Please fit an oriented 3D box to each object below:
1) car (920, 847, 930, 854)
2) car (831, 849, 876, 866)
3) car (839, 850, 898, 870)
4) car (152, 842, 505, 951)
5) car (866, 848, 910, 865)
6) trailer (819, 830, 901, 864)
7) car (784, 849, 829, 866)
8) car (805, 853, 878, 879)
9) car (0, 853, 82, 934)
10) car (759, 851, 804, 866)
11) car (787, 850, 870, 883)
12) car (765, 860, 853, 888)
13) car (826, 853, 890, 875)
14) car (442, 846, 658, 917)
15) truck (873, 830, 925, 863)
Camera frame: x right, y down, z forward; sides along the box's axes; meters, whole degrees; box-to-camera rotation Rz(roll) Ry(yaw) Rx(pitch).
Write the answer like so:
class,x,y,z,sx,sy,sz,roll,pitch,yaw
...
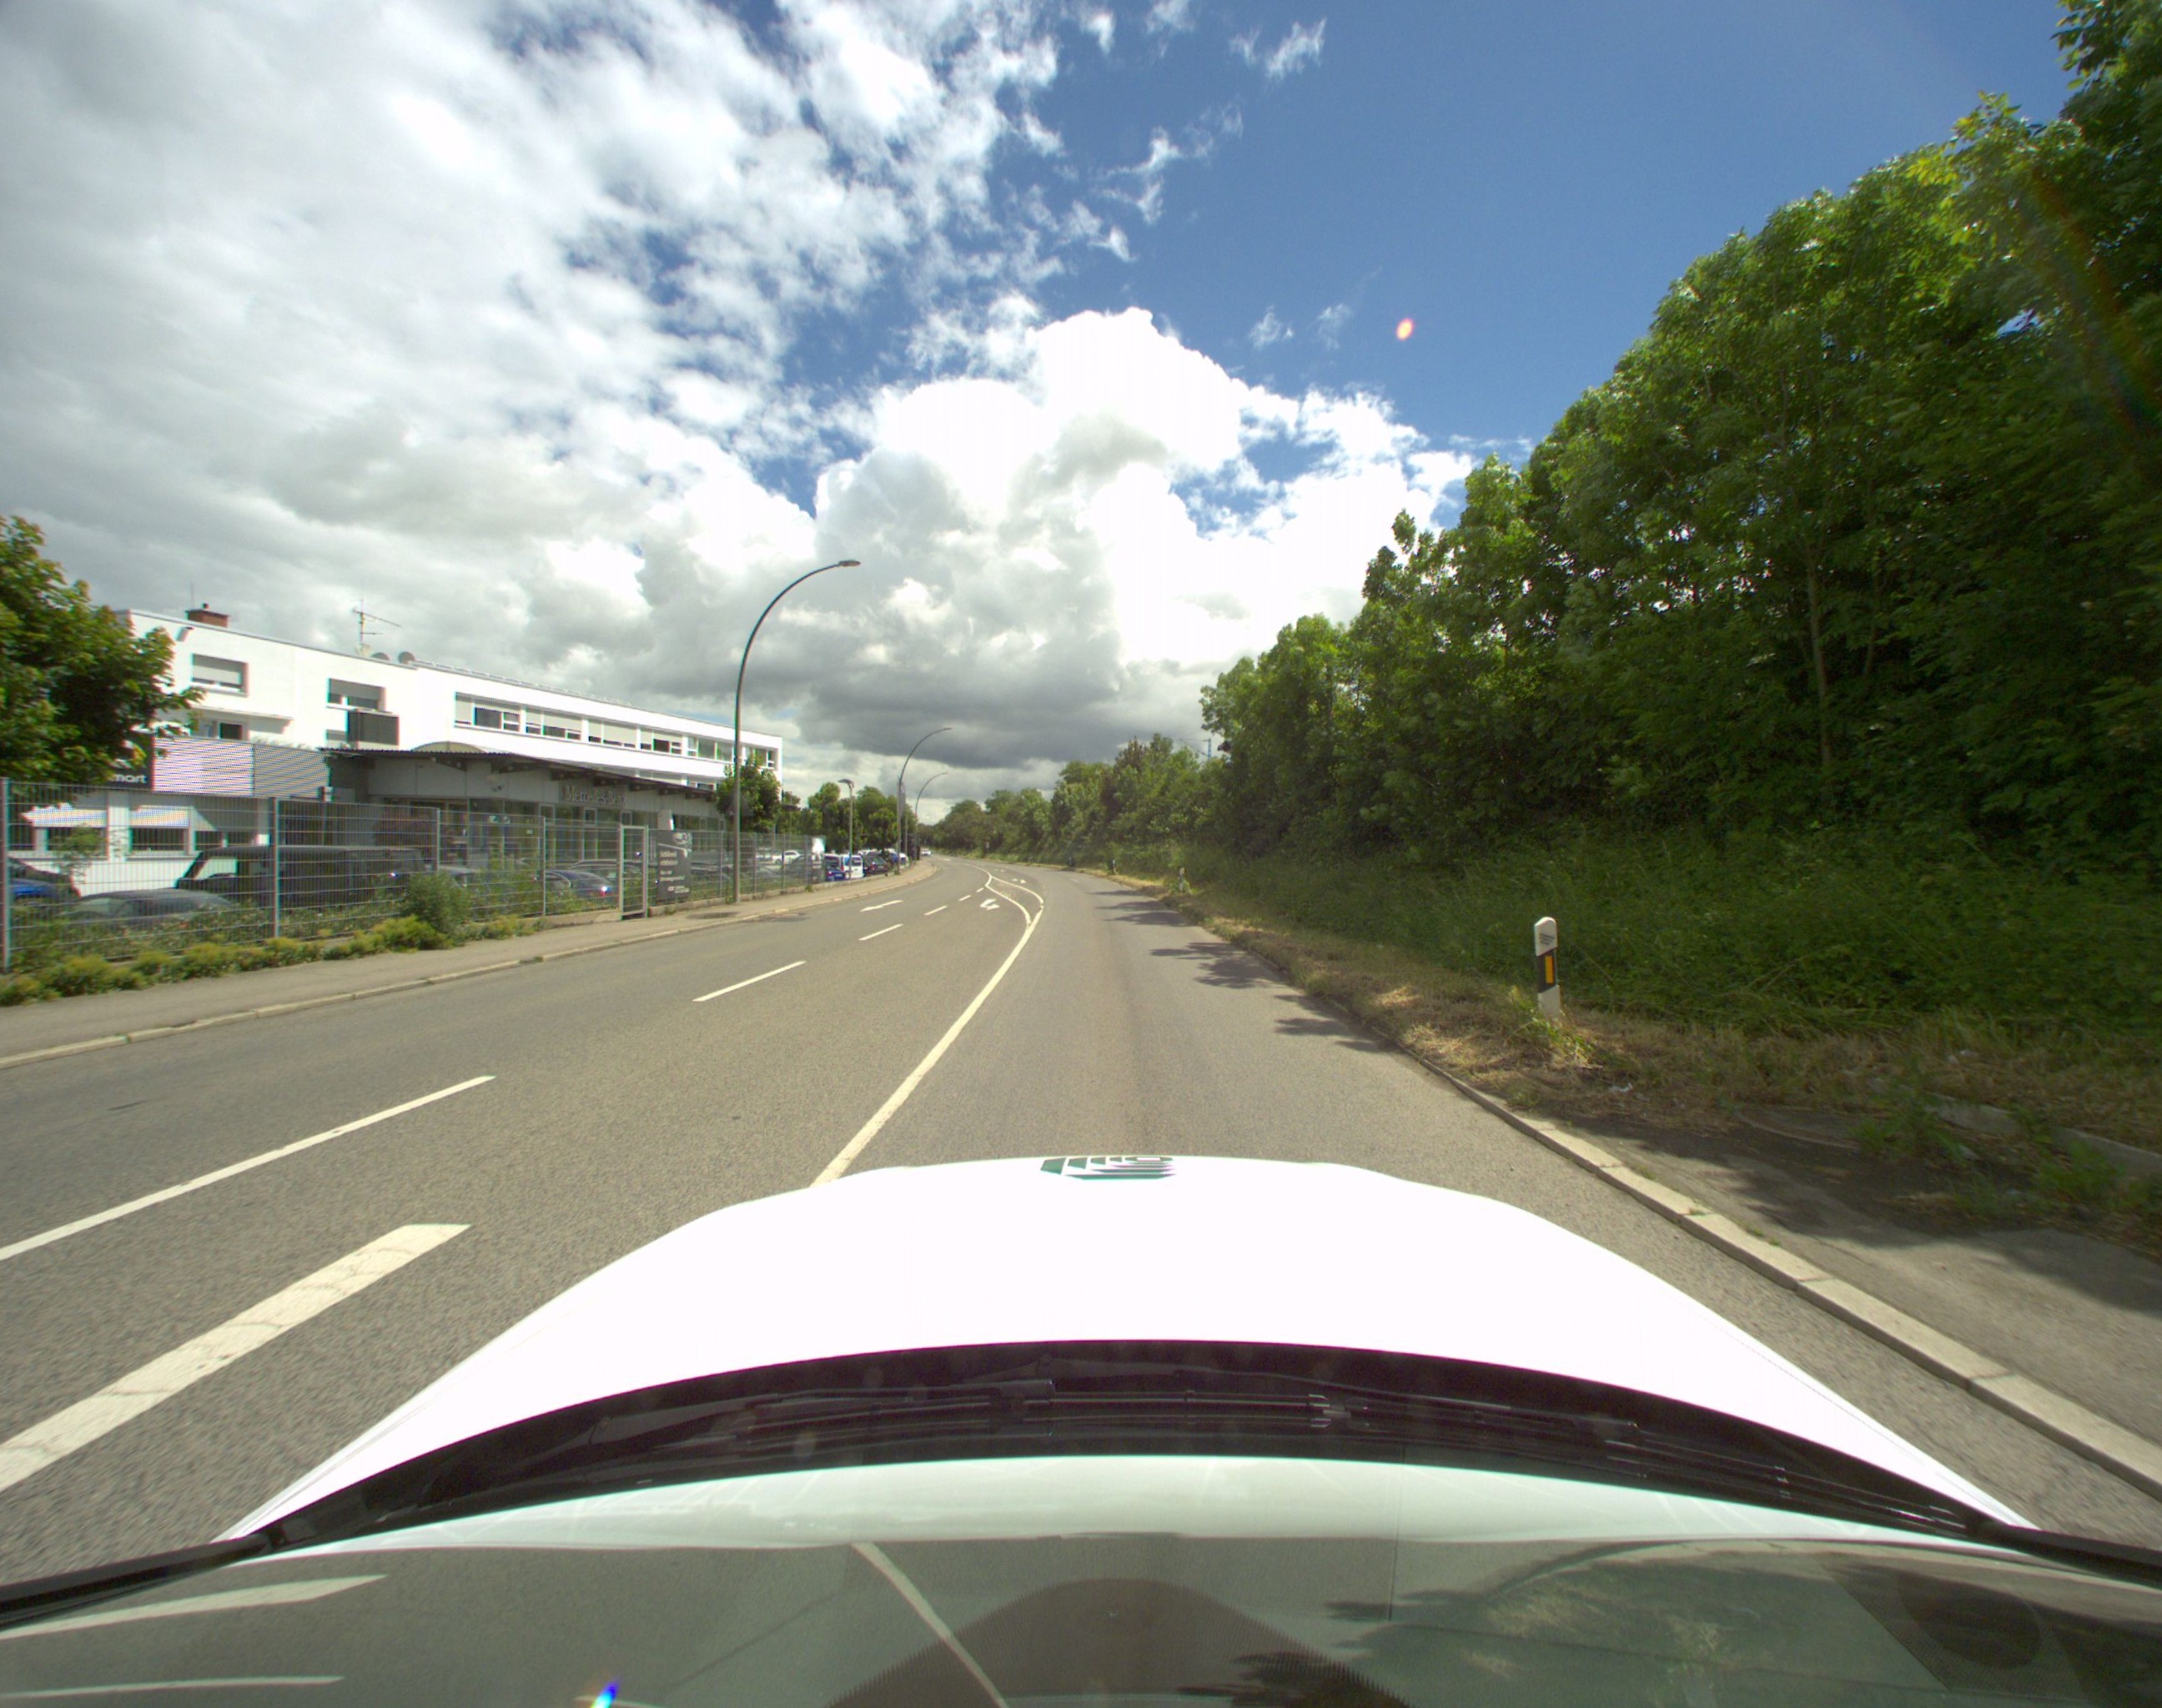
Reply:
class,x,y,z,sx,sy,sz,roll,pitch,yaw
car,-32.709,-0.705,170.718,1.995,1.537,3.983,1,0,-13
car,-22.260,0.373,79.792,1.975,1.631,4.023,1,0,25
car,-16.038,0.464,61.419,4.153,1.401,1.669,1,0,25
car,-13.000,0.688,14.315,4.175,1.700,2.175,1,0,2
car,-21.061,0.278,88.928,4.337,1.763,1.976,1,0,-41
trailer,-28.260,-0.920,104.510,9.773,4.093,2.802,-1,1,-26
car,-27.423,0.383,81.407,1.975,1.644,4.023,1,0,25
car,-15.440,0.760,52.535,4.153,1.601,1.992,1,0,25
car,-21.967,0.763,14.969,1.923,1.547,4.095,1,0,8
car,-30.002,0.435,81.743,1.975,1.455,4.023,1,0,25
car,-14.045,0.686,45.353,3.938,1.700,2.186,1,0,25
car,-14.288,1.003,42.823,4.153,1.350,1.948,1,0,25
car,-15.796,0.675,57.618,4.153,1.479,1.806,1,0,25
car,-13.800,0.677,21.393,4.177,1.700,2.173,1,0,0
truck,-23.829,-0.981,106.695,6.147,4.093,2.803,-1,1,-25
